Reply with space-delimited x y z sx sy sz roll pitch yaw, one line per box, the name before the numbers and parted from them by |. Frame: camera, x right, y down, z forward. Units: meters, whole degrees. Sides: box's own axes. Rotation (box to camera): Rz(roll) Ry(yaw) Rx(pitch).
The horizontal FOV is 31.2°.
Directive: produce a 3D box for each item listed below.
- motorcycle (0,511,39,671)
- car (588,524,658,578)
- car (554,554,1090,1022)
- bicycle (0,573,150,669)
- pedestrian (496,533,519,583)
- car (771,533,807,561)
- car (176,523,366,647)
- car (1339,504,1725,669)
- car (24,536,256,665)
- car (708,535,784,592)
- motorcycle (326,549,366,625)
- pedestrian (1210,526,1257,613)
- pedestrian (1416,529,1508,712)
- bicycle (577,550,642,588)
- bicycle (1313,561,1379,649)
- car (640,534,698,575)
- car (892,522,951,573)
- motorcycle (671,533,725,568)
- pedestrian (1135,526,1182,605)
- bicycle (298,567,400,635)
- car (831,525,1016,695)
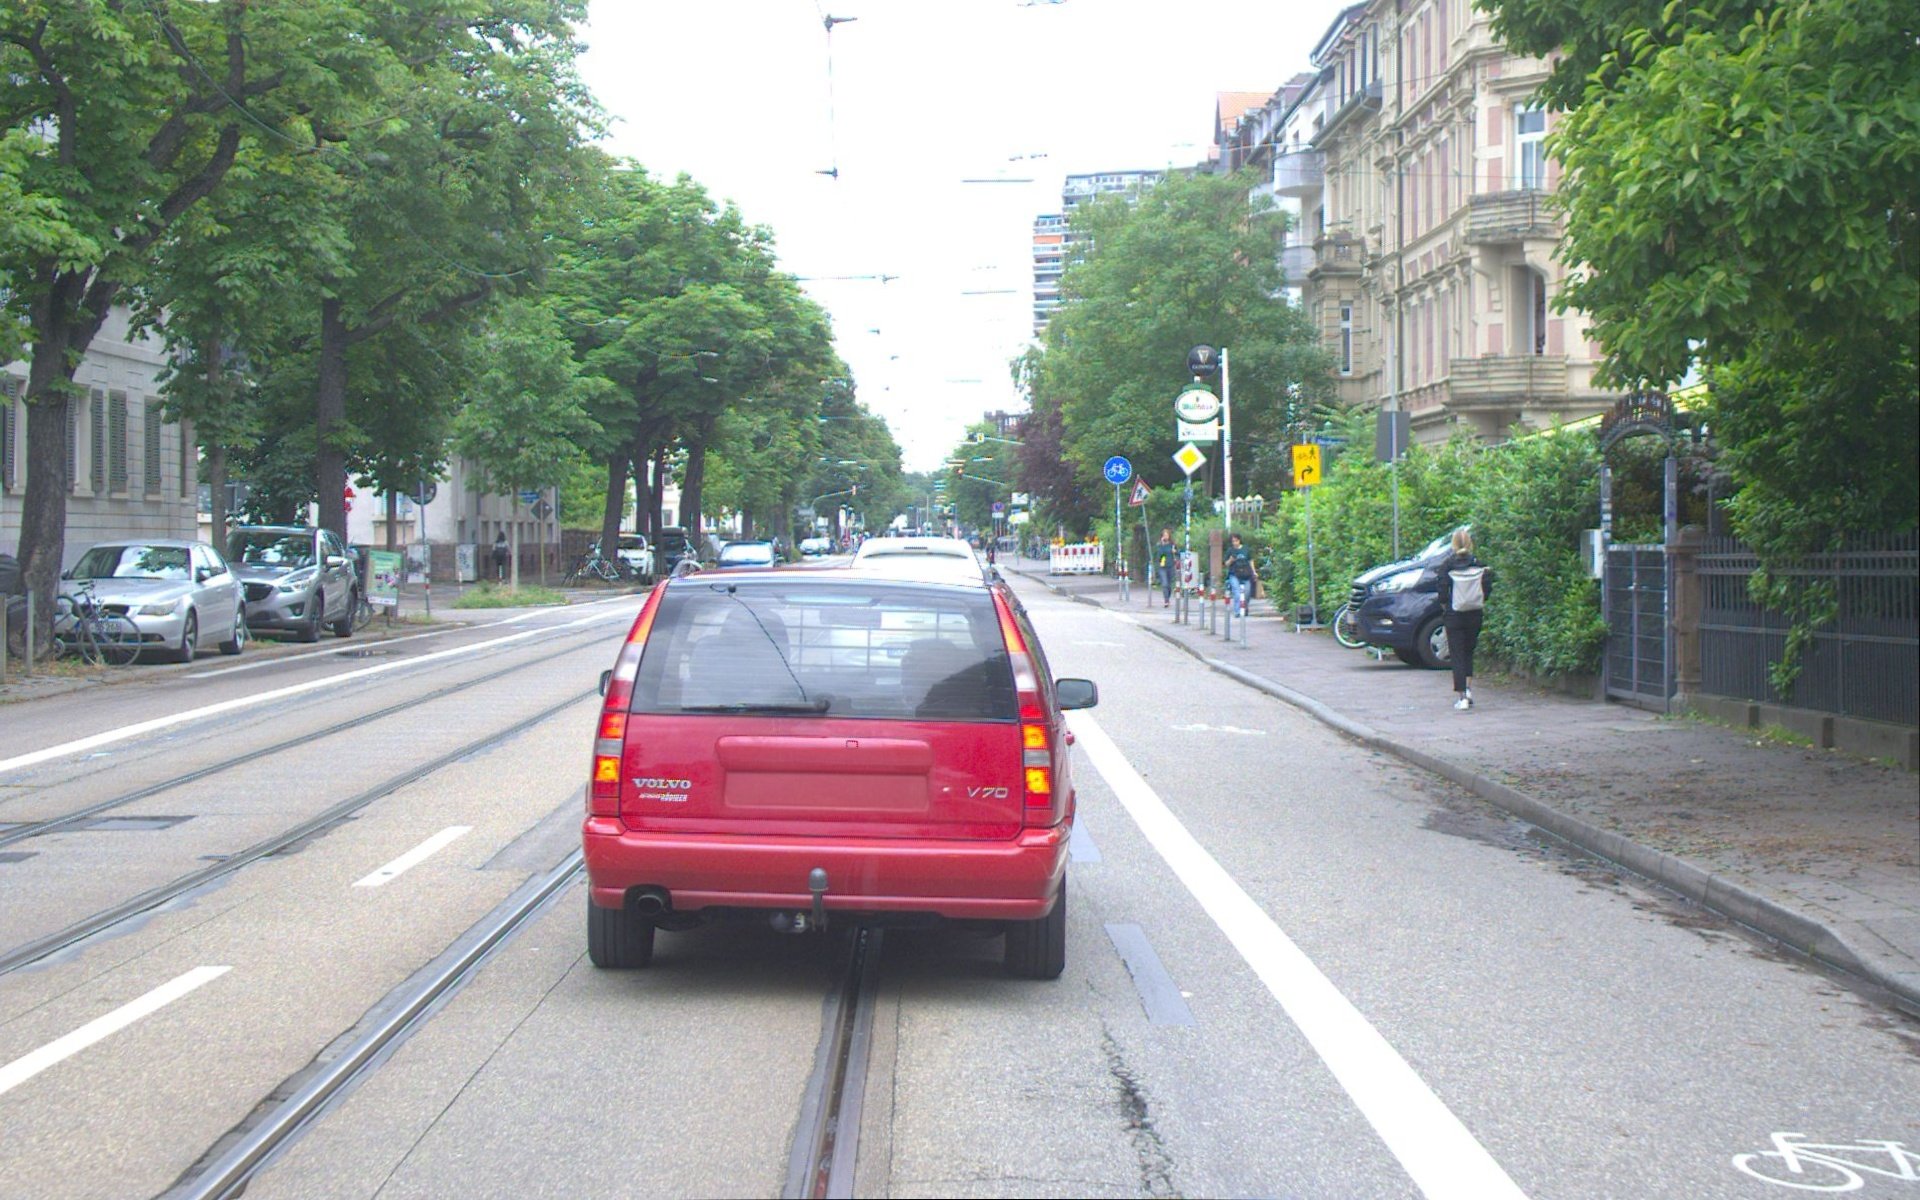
motorcycle | -10.268 -0.087 35.002 0.833 1.637 2.479 0 1 8
car | -10.659 -1.553 108.830 1.897 1.650 4.226 0 1 -1
car | -0.431 0.575 12.834 1.689 1.436 3.743 1 1 0
bicycle | -10.101 0.230 38.557 1.894 1.023 0.564 1 1 -4
pedestrian | -13.316 -1.247 101.213 0.564 1.462 0.723 0 1 0
car | -9.701 -3.026 195.115 1.851 1.558 3.943 0 1 0
car | -10.026 -0.258 50.320 1.837 1.655 4.293 2 1 1
car | 6.775 -0.176 41.041 4.280 1.803 1.823 -2 1 2
car | -9.948 -0.033 42.040 1.811 1.461 4.614 1 1 -1
car | -5.419 -0.937 87.335 1.729 1.404 3.656 0 1 -1
motorcycle | -10.361 -0.235 58.078 0.539 1.253 2.143 0 1 -7
pedestrian | 5.245 -0.582 65.915 0.793 1.630 0.836 -1 1 0
pedestrian | 4.711 0.183 32.306 0.623 1.665 0.960 -3 1 -1
bicycle | -10.701 -0.949 105.015 1.922 1.117 0.624 1 1 0
bicycle | 5.313 0.054 47.387 0.632 1.124 1.812 -2 2 -1
car | -10.782 -1.701 127.580 1.777 1.505 4.238 1 1 0
car | -1.238 -1.666 109.062 1.741 1.600 4.001 0 1 -2
motorcycle | -11.428 -2.157 149.854 2.269 1.506 0.925 0 -1 35
pedestrian | 4.224 -0.739 73.021 0.873 1.650 0.908 0 1 12
bicycle | -9.717 0.015 54.671 1.376 1.001 0.930 3 1 4
car | -0.319 0.062 34.775 1.719 1.619 3.941 0 1 2
